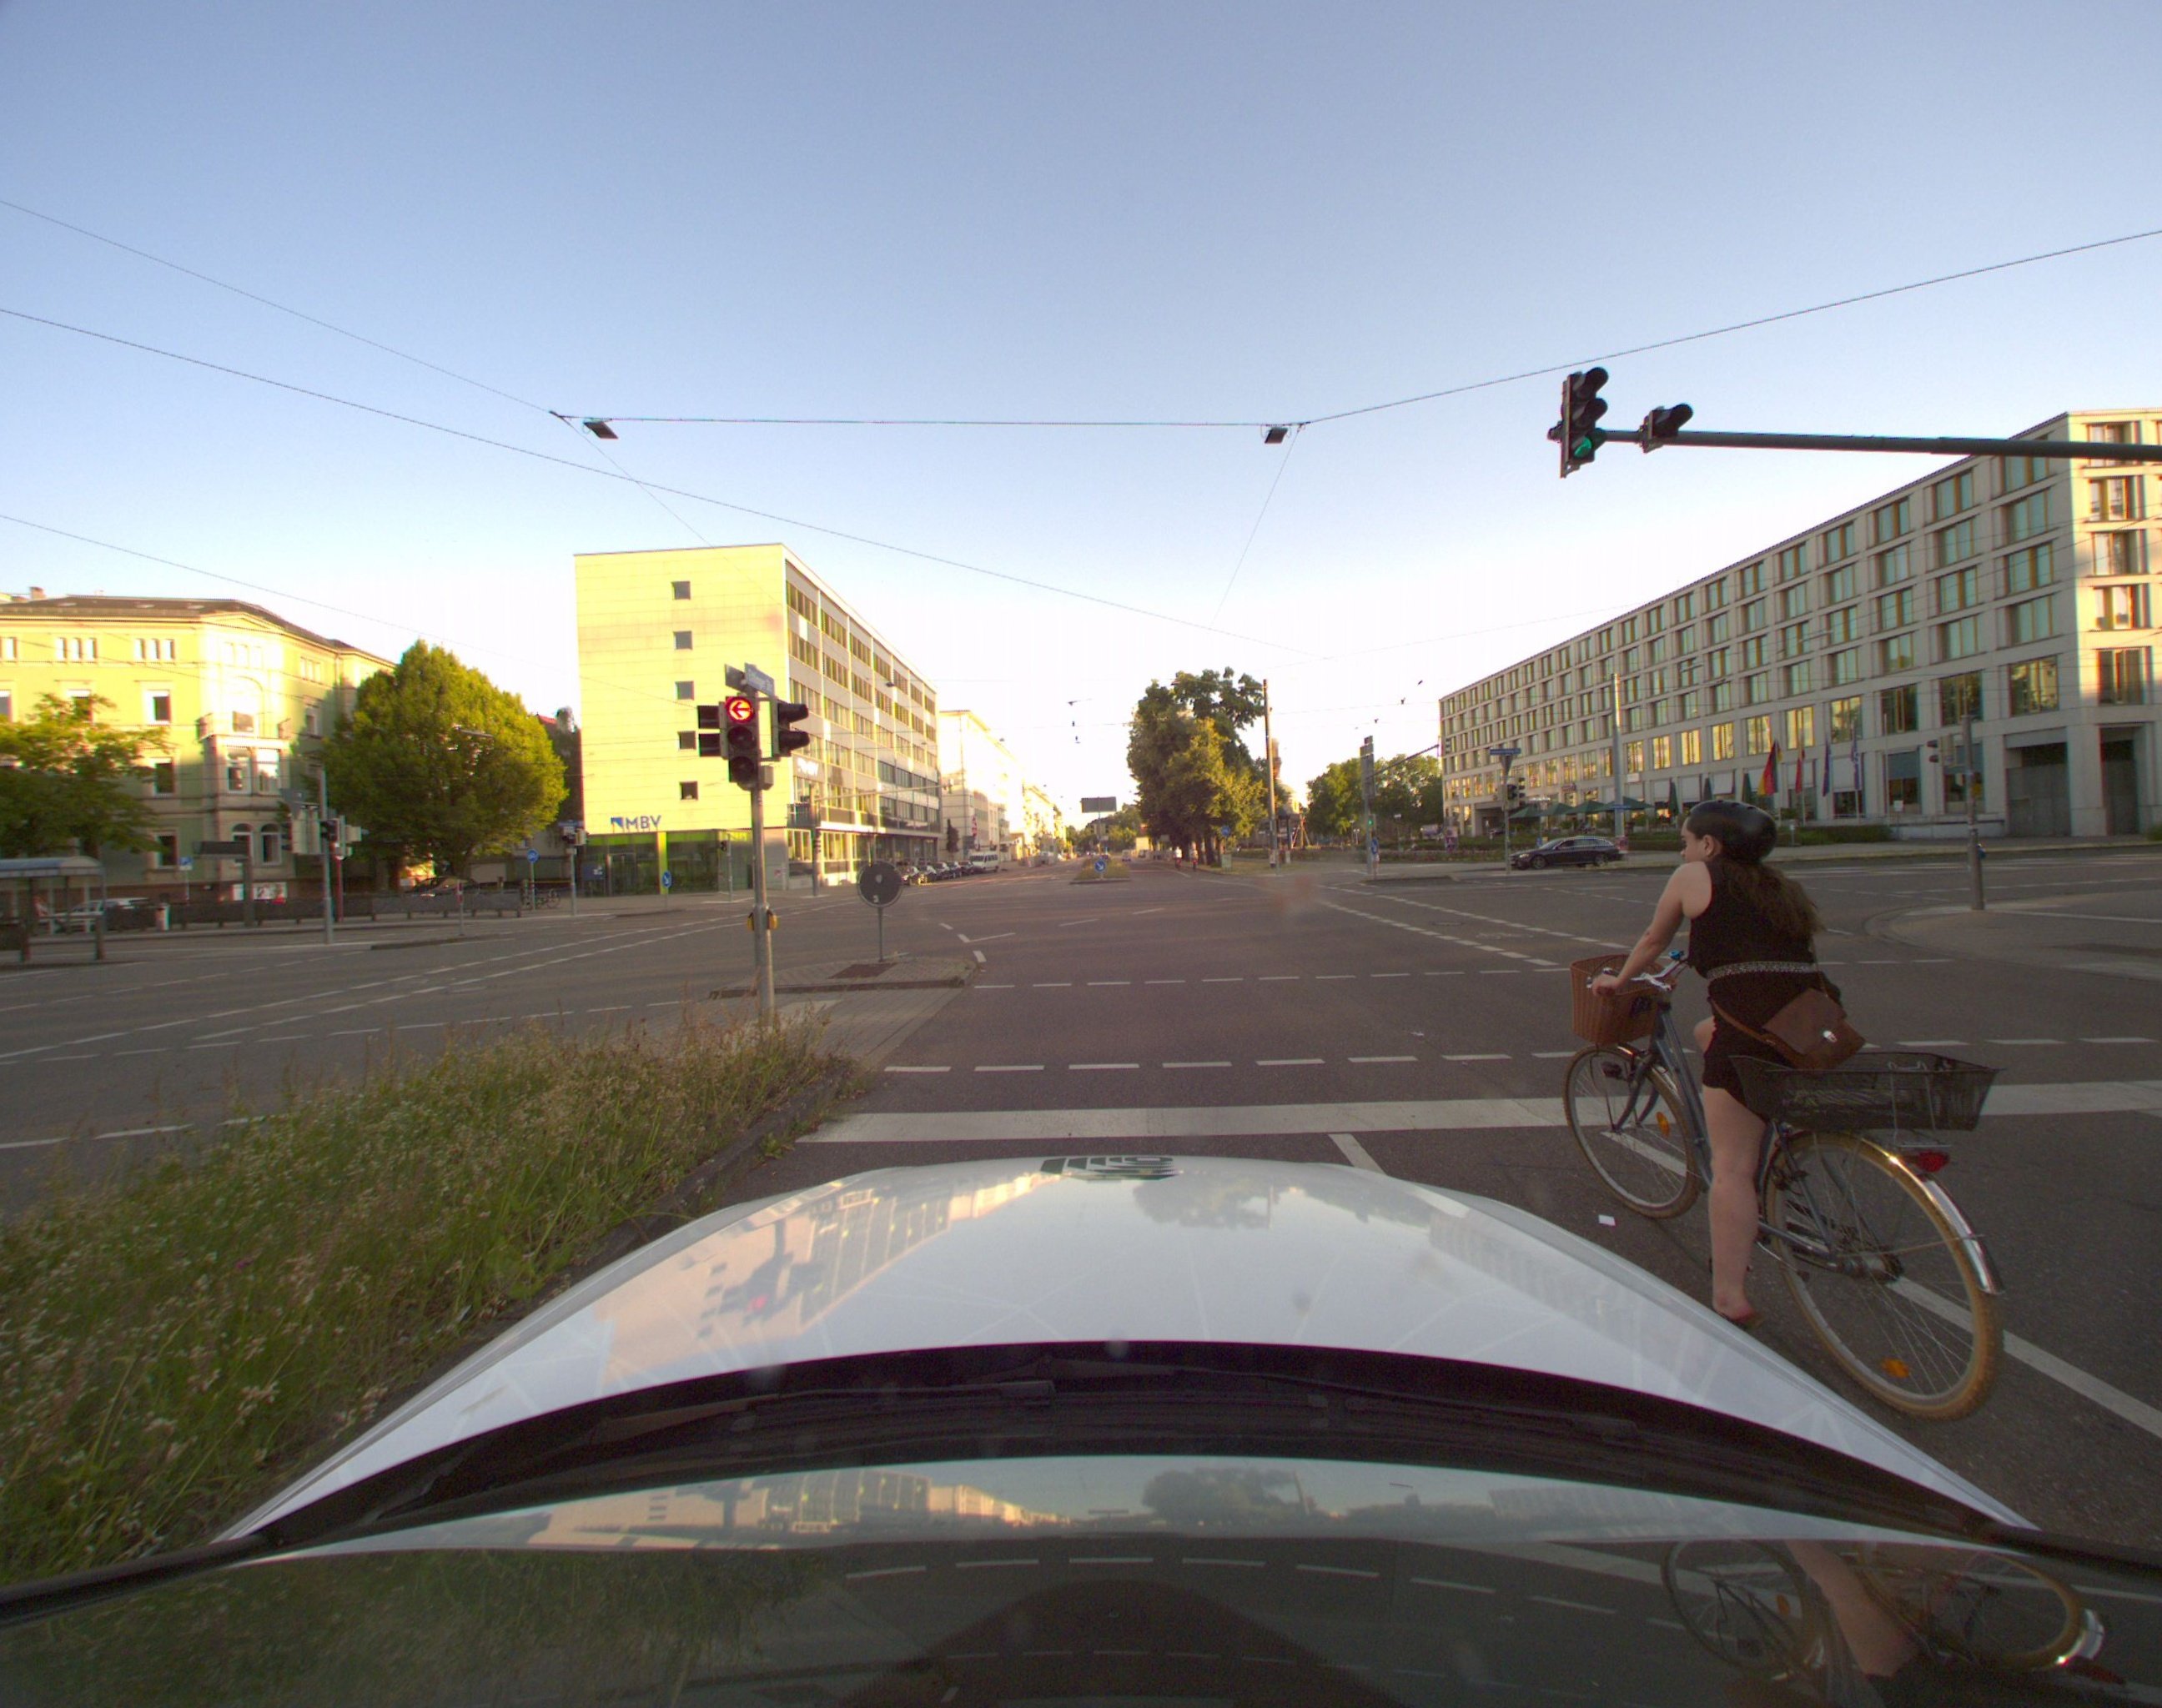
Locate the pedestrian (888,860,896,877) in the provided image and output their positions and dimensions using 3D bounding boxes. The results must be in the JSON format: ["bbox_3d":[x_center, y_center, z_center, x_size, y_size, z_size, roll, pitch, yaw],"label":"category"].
[{"bbox_3d":[-18.211,1.386,78.491,0.549,1.679,0.500,-3,0,1],"label":"pedestrian"}]

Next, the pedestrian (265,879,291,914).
[{"bbox_3d":[-42.202,2.230,42.802,0.641,1.790,0.720,-3,0,-12],"label":"pedestrian"}]

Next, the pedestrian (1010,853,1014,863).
[{"bbox_3d":[-13.946,0.803,165.508,0.677,2.013,0.545,-3,0,1],"label":"pedestrian"}]

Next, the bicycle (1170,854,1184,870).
[{"bbox_3d":[7.173,0.588,60.766,0.744,1.144,2.506,-3,0,2],"label":"bicycle"}]

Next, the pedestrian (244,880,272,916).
[{"bbox_3d":[-42.334,2.255,41.901,0.641,1.790,0.720,-3,0,-12],"label":"pedestrian"}]

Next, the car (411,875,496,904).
[{"bbox_3d":[-34.943,1.924,45.472,1.830,1.372,3.594,-3,0,0],"label":"car"}]

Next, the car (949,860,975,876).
[{"bbox_3d":[-12.395,1.463,85.244,1.913,1.568,4.002,-3,0,2],"label":"car"}]

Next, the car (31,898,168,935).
[{"bbox_3d":[-45.269,2.855,37.658,3.588,1.372,1.833,-3,0,-15],"label":"car"}]

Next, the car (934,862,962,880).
[{"bbox_3d":[-12.863,1.589,79.021,1.913,1.568,4.002,-3,0,2],"label":"car"}]

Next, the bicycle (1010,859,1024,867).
[{"bbox_3d":[-10.017,1.350,127.537,2.198,1.112,0.689,-3,0,0],"label":"bicycle"}]

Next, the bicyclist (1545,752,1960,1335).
[{"bbox_3d":[2.176,0.534,2.797,0.597,1.636,0.999,-1,0,2],"label":"bicyclist"}]

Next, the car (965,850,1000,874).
[{"bbox_3d":[-11.069,0.884,91.679,1.988,2.478,5.888,-3,0,12],"label":"car"}]

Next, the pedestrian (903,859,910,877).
[{"bbox_3d":[-16.977,1.358,79.096,0.498,1.679,0.500,-3,0,1],"label":"pedestrian"}]

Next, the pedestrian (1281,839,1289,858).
[{"bbox_3d":[17.790,-0.465,71.091,0.458,1.656,0.567,-3,0,1],"label":"pedestrian"}]

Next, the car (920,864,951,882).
[{"bbox_3d":[-13.114,1.698,73.719,1.913,1.464,4.002,-3,0,2],"label":"car"}]

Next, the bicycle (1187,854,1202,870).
[{"bbox_3d":[8.196,0.571,58.925,0.744,1.144,2.506,-3,0,2],"label":"bicycle"}]

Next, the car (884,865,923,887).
[{"bbox_3d":[-13.519,1.673,62.358,1.913,1.464,4.105,-3,0,2],"label":"car"}]

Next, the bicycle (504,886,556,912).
[{"bbox_3d":[-26.925,2.188,39.819,0.832,1.112,2.216,-3,0,6],"label":"bicycle"}]

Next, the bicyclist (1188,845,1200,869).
[{"bbox_3d":[8.178,0.241,58.933,0.744,1.691,0.799,-3,0,1],"label":"bicyclist"}]

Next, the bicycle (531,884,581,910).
[{"bbox_3d":[-25.670,2.100,39.876,0.832,1.112,2.216,-3,0,6],"label":"bicycle"}]

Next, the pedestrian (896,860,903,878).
[{"bbox_3d":[-17.495,1.415,78.522,0.549,1.679,0.500,-3,0,1],"label":"pedestrian"}]

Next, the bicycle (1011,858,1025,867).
[{"bbox_3d":[-10.017,1.310,129.329,2.198,1.236,0.839,-3,0,0],"label":"bicycle"}]

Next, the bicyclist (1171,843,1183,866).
[{"bbox_3d":[7.143,0.000,60.560,0.744,1.663,0.873,-3,0,1],"label":"bicyclist"}]

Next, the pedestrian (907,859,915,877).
[{"bbox_3d":[-16.369,1.367,78.442,0.549,1.679,0.500,-3,0,1],"label":"pedestrian"}]

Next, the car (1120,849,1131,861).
[{"bbox_3d":[6.661,0.144,121.818,1.403,1.641,4.000,-3,0,1],"label":"car"}]

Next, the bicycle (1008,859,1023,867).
[{"bbox_3d":[-10.103,1.344,125.922,2.198,1.112,0.619,-3,0,0],"label":"bicycle"}]

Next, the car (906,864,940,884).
[{"bbox_3d":[-13.322,1.660,68.906,1.913,1.464,4.002,-3,0,2],"label":"car"}]

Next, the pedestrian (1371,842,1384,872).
[{"bbox_3d":[15.810,0.154,43.374,0.489,1.540,0.408,-3,0,1],"label":"pedestrian"}]

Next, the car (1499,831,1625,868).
[{"bbox_3d":[23.110,-0.206,39.264,4.803,1.515,2.002,-3,0,4],"label":"car"}]

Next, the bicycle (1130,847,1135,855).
[{"bbox_3d":[13.079,-0.711,207.959,0.997,2.014,4.007,0,-1,6],"label":"bicycle"}]

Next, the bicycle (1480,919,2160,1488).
[{"bbox_3d":[2.180,0.882,2.867,0.609,1.132,2.005,-1,0,2],"label":"bicycle"}]
